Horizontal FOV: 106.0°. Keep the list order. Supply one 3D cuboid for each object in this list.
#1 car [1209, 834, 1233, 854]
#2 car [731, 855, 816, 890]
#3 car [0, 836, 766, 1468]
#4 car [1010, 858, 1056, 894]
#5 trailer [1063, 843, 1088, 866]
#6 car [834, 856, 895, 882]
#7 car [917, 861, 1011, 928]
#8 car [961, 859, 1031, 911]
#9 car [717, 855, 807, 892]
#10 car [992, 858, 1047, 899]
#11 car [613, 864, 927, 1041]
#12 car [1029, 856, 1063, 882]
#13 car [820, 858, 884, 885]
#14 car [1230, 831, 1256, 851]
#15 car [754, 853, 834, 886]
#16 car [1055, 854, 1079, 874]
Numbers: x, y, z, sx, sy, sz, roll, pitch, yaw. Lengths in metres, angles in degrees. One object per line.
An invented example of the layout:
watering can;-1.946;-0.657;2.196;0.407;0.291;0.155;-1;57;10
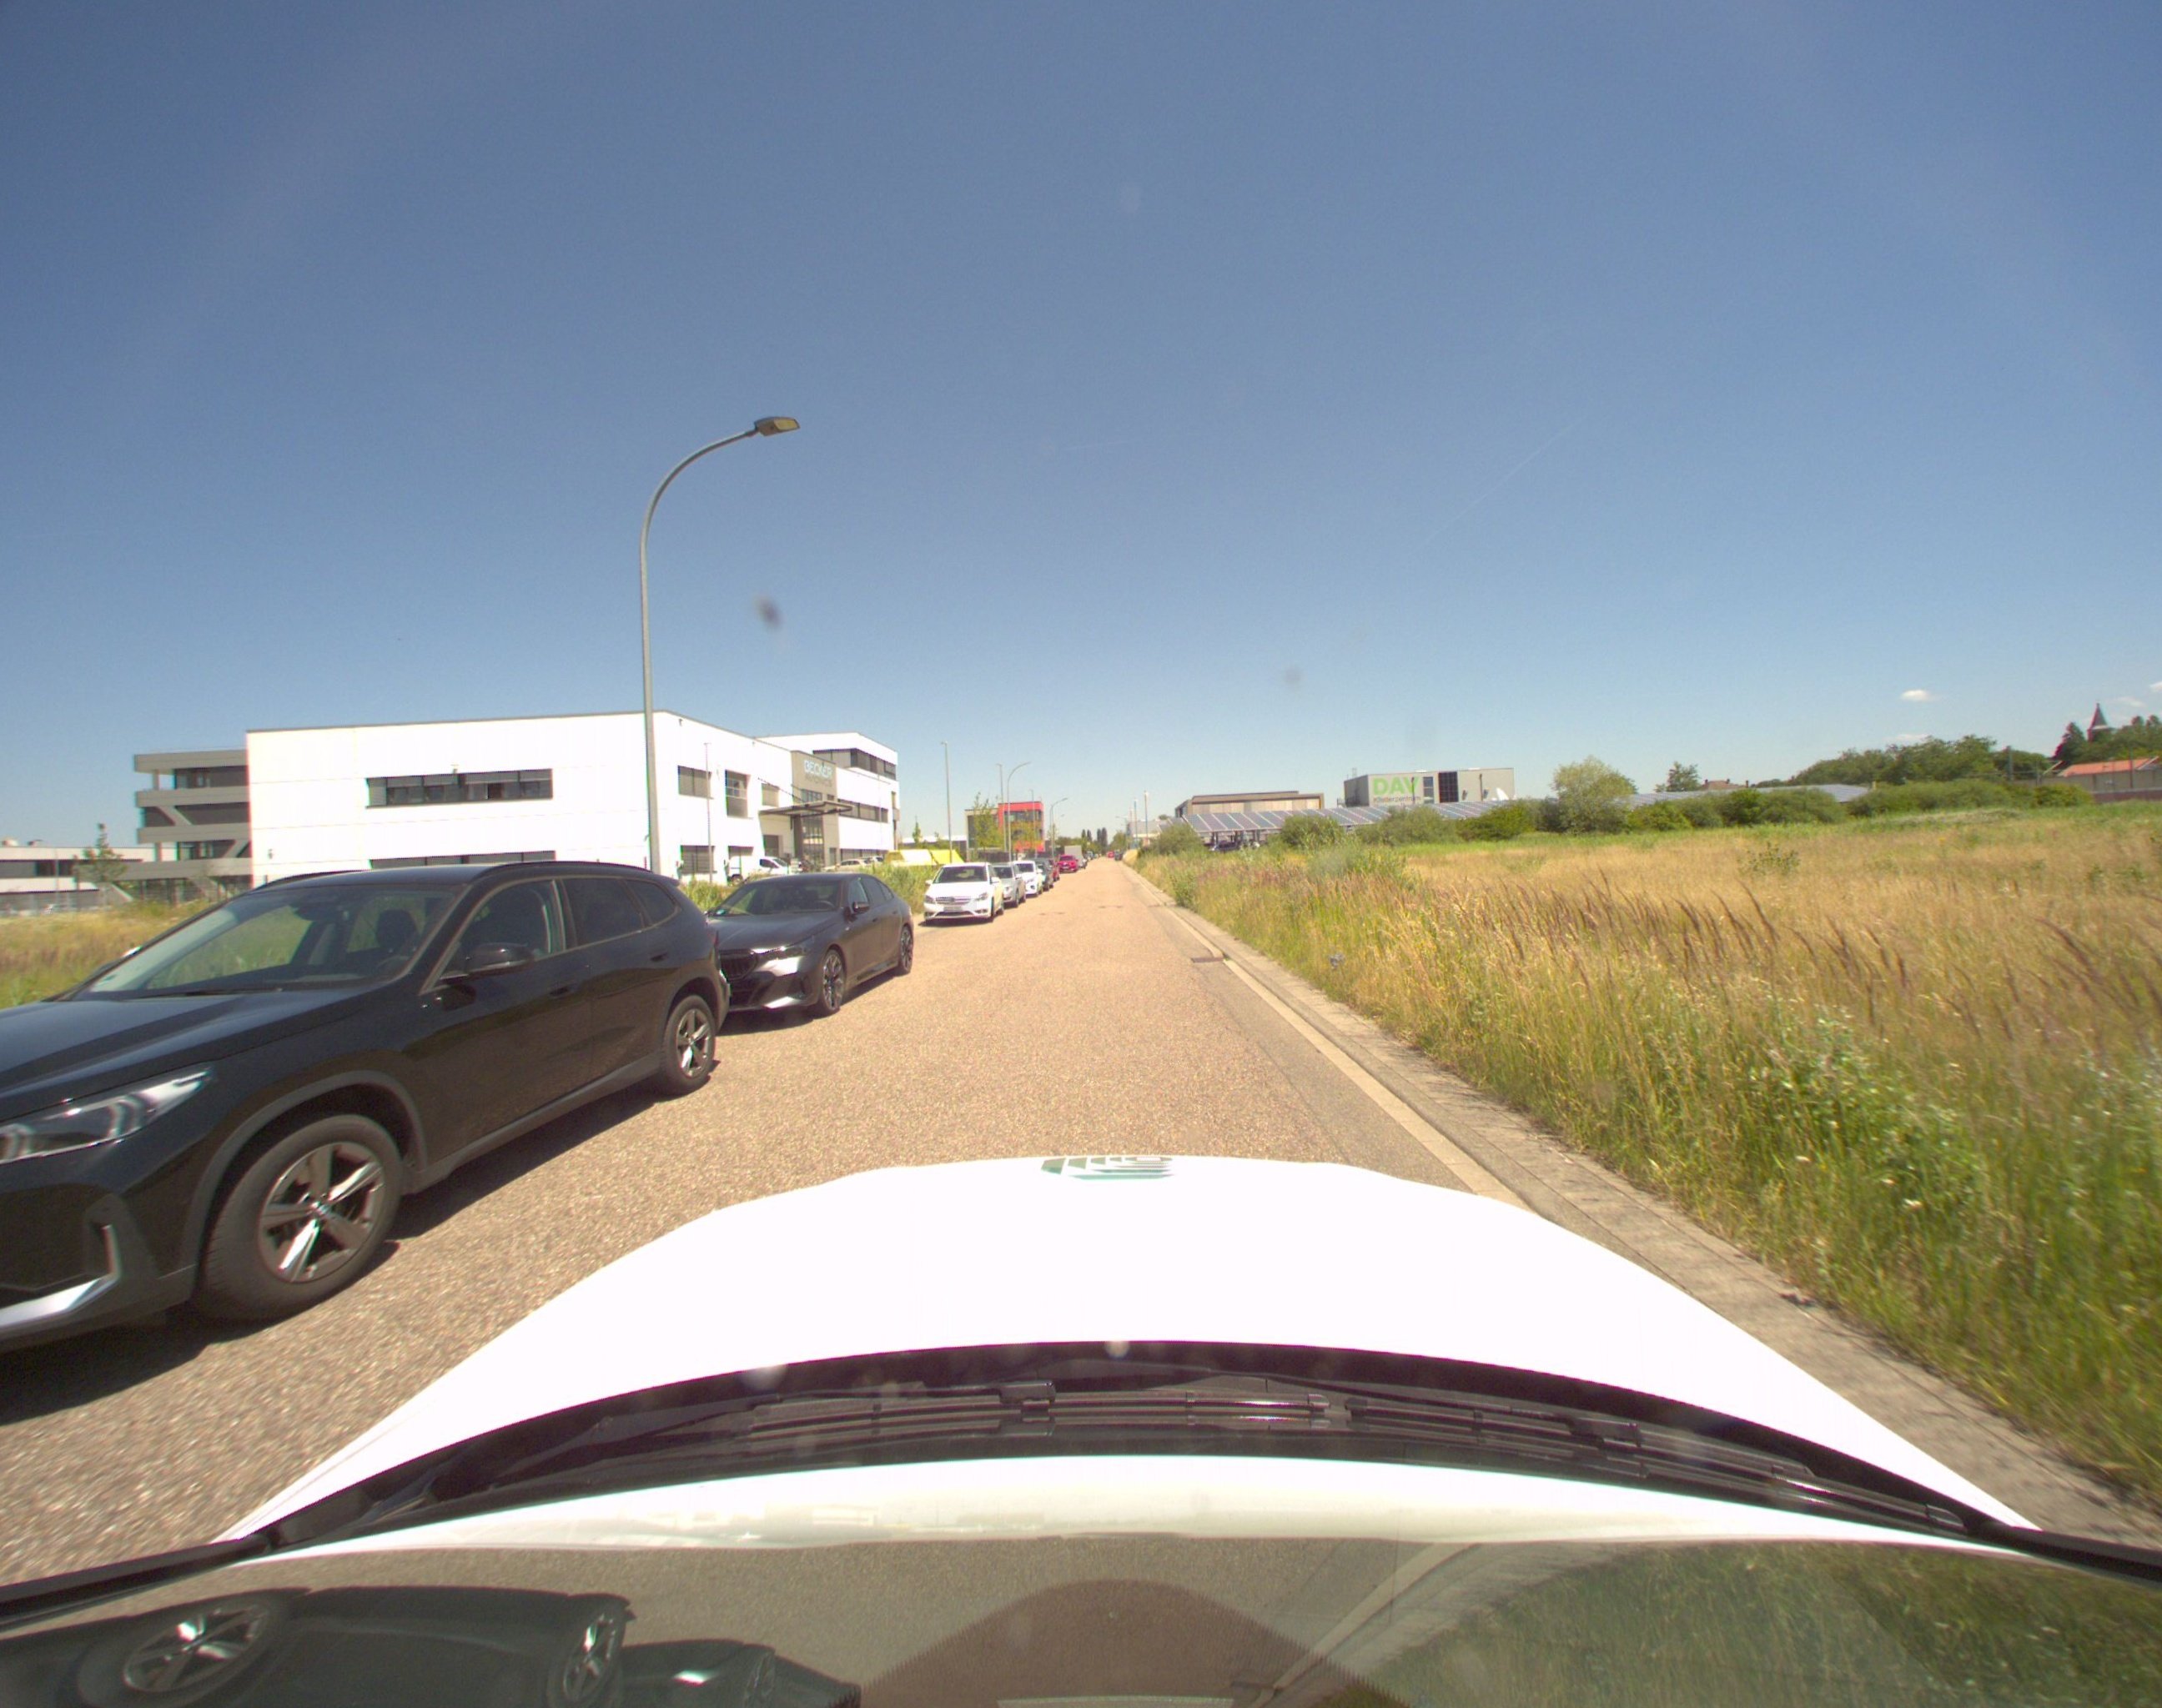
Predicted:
car;15.360;-1.057;89.488;1.986;2.013;4.001;-3;0;2
car;-19.573;1.169;52.016;4.511;1.943;2.032;-3;0;2
car;-3.591;0.826;4.439;1.762;1.663;4.554;-3;0;2
car;-2.251;1.018;39.313;1.780;1.520;3.984;-3;0;2
trailer;-0.535;0.098;82.420;2.193;2.137;4.287;-3;0;2
car;-18.564;1.299;69.865;4.511;1.943;2.032;-3;0;2
car;-3.076;1.011;22.165;1.780;1.520;3.984;-3;0;2
car;-2.856;1.015;28.148;1.780;1.520;3.984;-3;0;2
car;-19.155;1.156;49.007;4.511;1.943;2.032;-3;0;2
car;-2.516;0.973;34.067;1.780;1.520;3.984;-3;0;2
car;-3.395;0.960;10.147;1.762;1.486;5.016;-3;0;2
car;-2.199;0.914;51.620;1.780;1.520;3.984;-3;0;2
car;-18.782;1.409;66.936;4.511;1.943;2.032;-3;0;2
car;17.809;-1.423;89.704;1.986;2.013;4.001;-3;0;2
car;-19.338;1.044;55.017;4.511;1.943;2.032;-3;0;2
car;-1.193;0.853;70.896;1.780;1.520;3.984;-3;0;2
